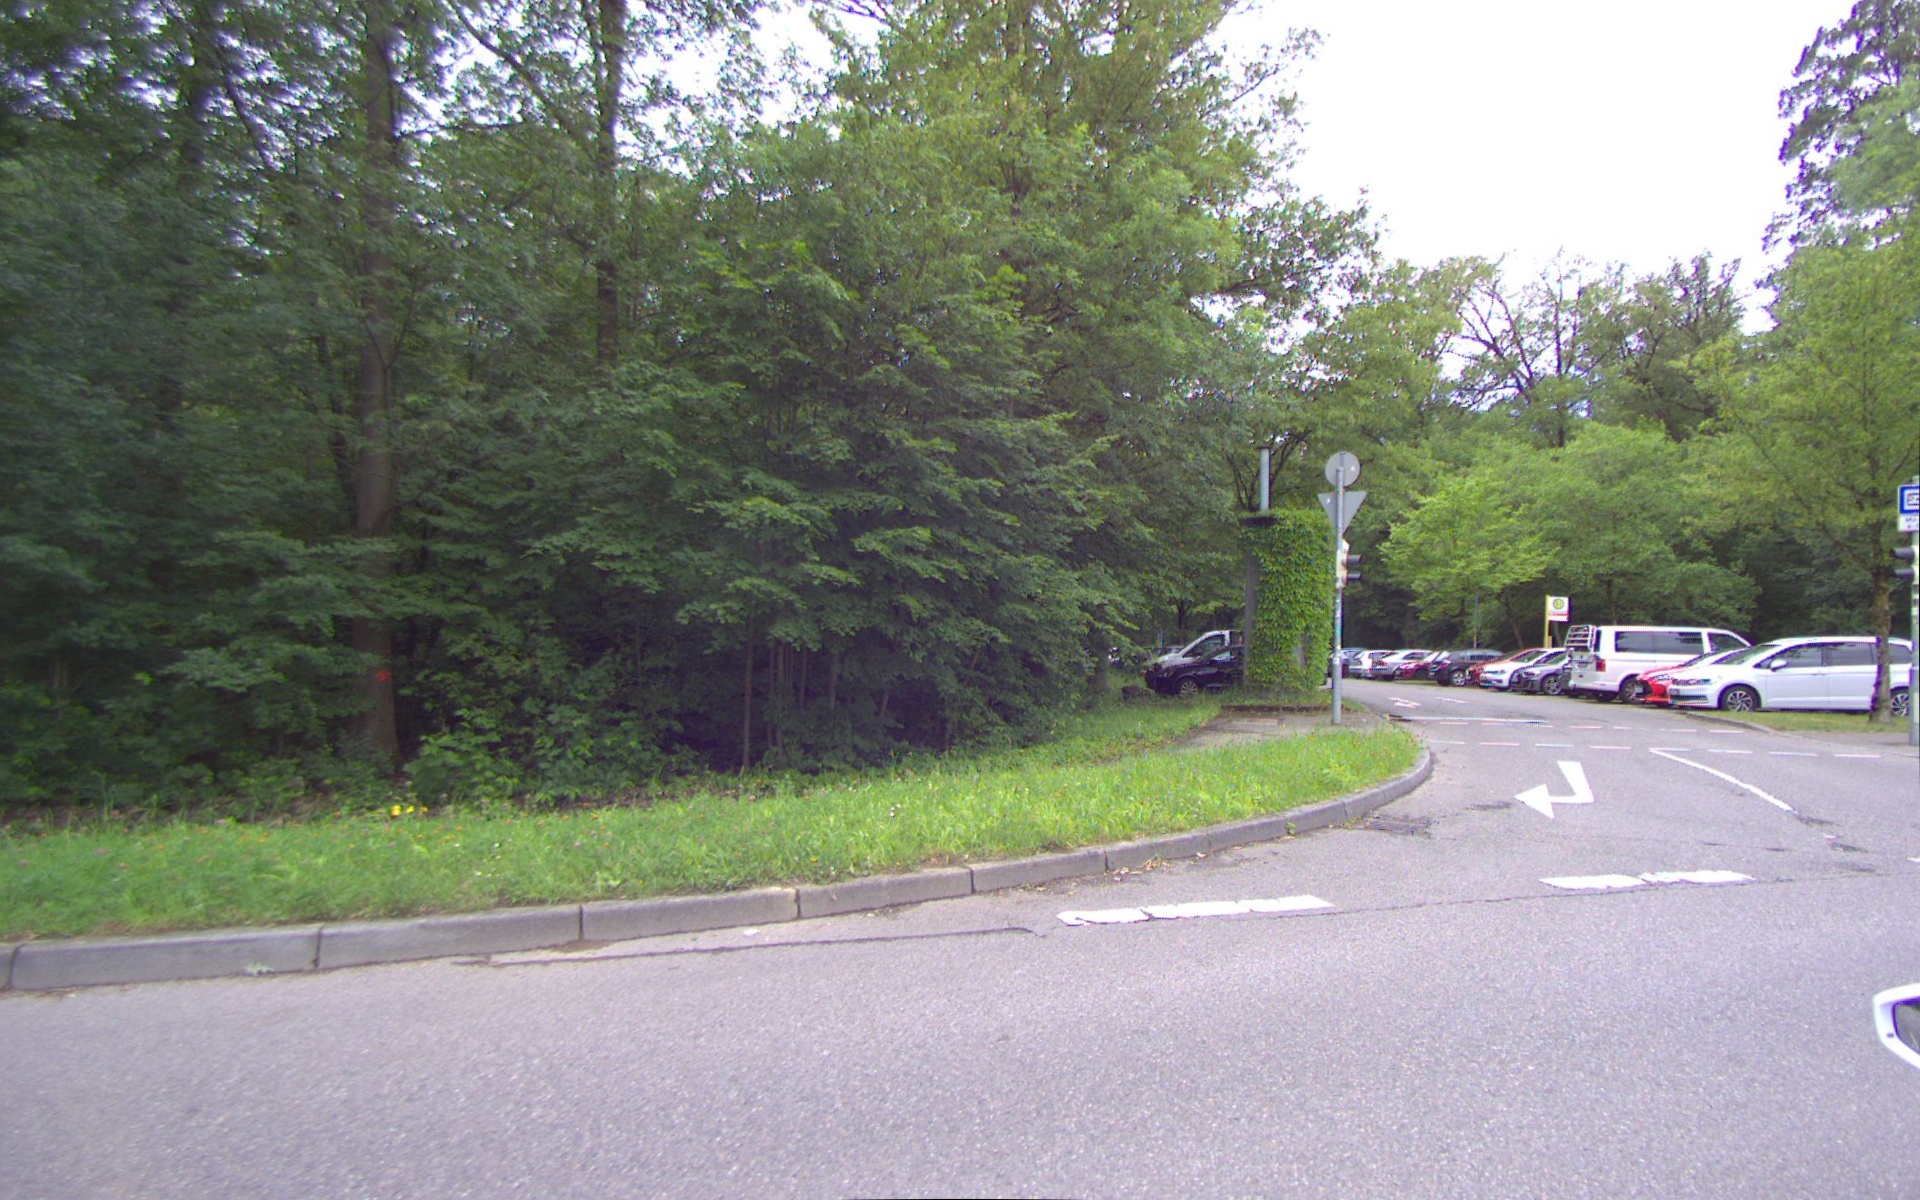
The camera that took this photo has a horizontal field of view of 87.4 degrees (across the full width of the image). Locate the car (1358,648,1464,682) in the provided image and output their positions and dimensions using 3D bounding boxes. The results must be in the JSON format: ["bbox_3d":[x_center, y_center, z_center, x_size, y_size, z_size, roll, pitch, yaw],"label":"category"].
[{"bbox_3d":[20.787,3.006,46.394,4.056,1.480,1.867,0,-3,5],"label":"car"}]

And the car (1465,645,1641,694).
[{"bbox_3d":[19.637,2.276,33.459,4.690,1.495,1.854,0,-2,10],"label":"car"}]

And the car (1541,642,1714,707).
[{"bbox_3d":[19.037,2.093,28.795,3.659,1.575,1.847,2,0,9],"label":"car"}]

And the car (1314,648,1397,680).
[{"bbox_3d":[20.971,3.379,53.384,3.705,1.610,1.950,1,-2,2],"label":"car"}]

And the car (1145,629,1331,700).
[{"bbox_3d":[7.890,1.833,28.983,4.999,1.940,1.980,0,-3,11],"label":"car"}]

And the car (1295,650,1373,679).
[{"bbox_3d":[20.907,3.611,56.248,3.707,1.500,1.774,1,-2,-2],"label":"car"}]

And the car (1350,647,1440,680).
[{"bbox_3d":[21.074,3.101,48.763,3.639,1.530,1.753,1,-3,3],"label":"car"}]

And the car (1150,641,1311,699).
[{"bbox_3d":[6.965,1.794,26.215,3.919,1.397,1.724,0,-2,11],"label":"car"}]

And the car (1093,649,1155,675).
[{"bbox_3d":[10.670,4.036,65.718,3.893,1.649,2.000,0,-3,6],"label":"car"}]

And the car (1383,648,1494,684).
[{"bbox_3d":[20.753,2.864,43.720,3.920,1.468,1.942,0,-3,3],"label":"car"}]

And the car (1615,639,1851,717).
[{"bbox_3d":[17.921,1.776,23.514,3.930,1.575,1.948,1,-2,17],"label":"car"}]

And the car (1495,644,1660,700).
[{"bbox_3d":[19.055,2.231,31.156,3.919,1.502,1.879,2,-4,9],"label":"car"}]

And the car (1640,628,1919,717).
[{"bbox_3d":[17.282,1.492,21.121,4.444,1.715,2.167,0,-3,16],"label":"car"}]

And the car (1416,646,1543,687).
[{"bbox_3d":[19.952,2.548,38.722,3.919,1.502,1.924,0,-3,7],"label":"car"}]

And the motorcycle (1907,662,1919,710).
[{"bbox_3d":[23.671,2.085,23.814,0.663,1.176,2.013,1,-2,4],"label":"motorcycle"}]

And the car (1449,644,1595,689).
[{"bbox_3d":[20.118,2.391,36.118,4.156,1.499,1.921,1,-3,7],"label":"car"}]

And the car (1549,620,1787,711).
[{"bbox_3d":[18.330,1.660,26.239,4.569,2.048,2.085,2,-1,10],"label":"car"}]

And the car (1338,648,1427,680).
[{"bbox_3d":[21.401,3.227,50.966,3.779,1.566,1.731,1,-3,1],"label":"car"}]
